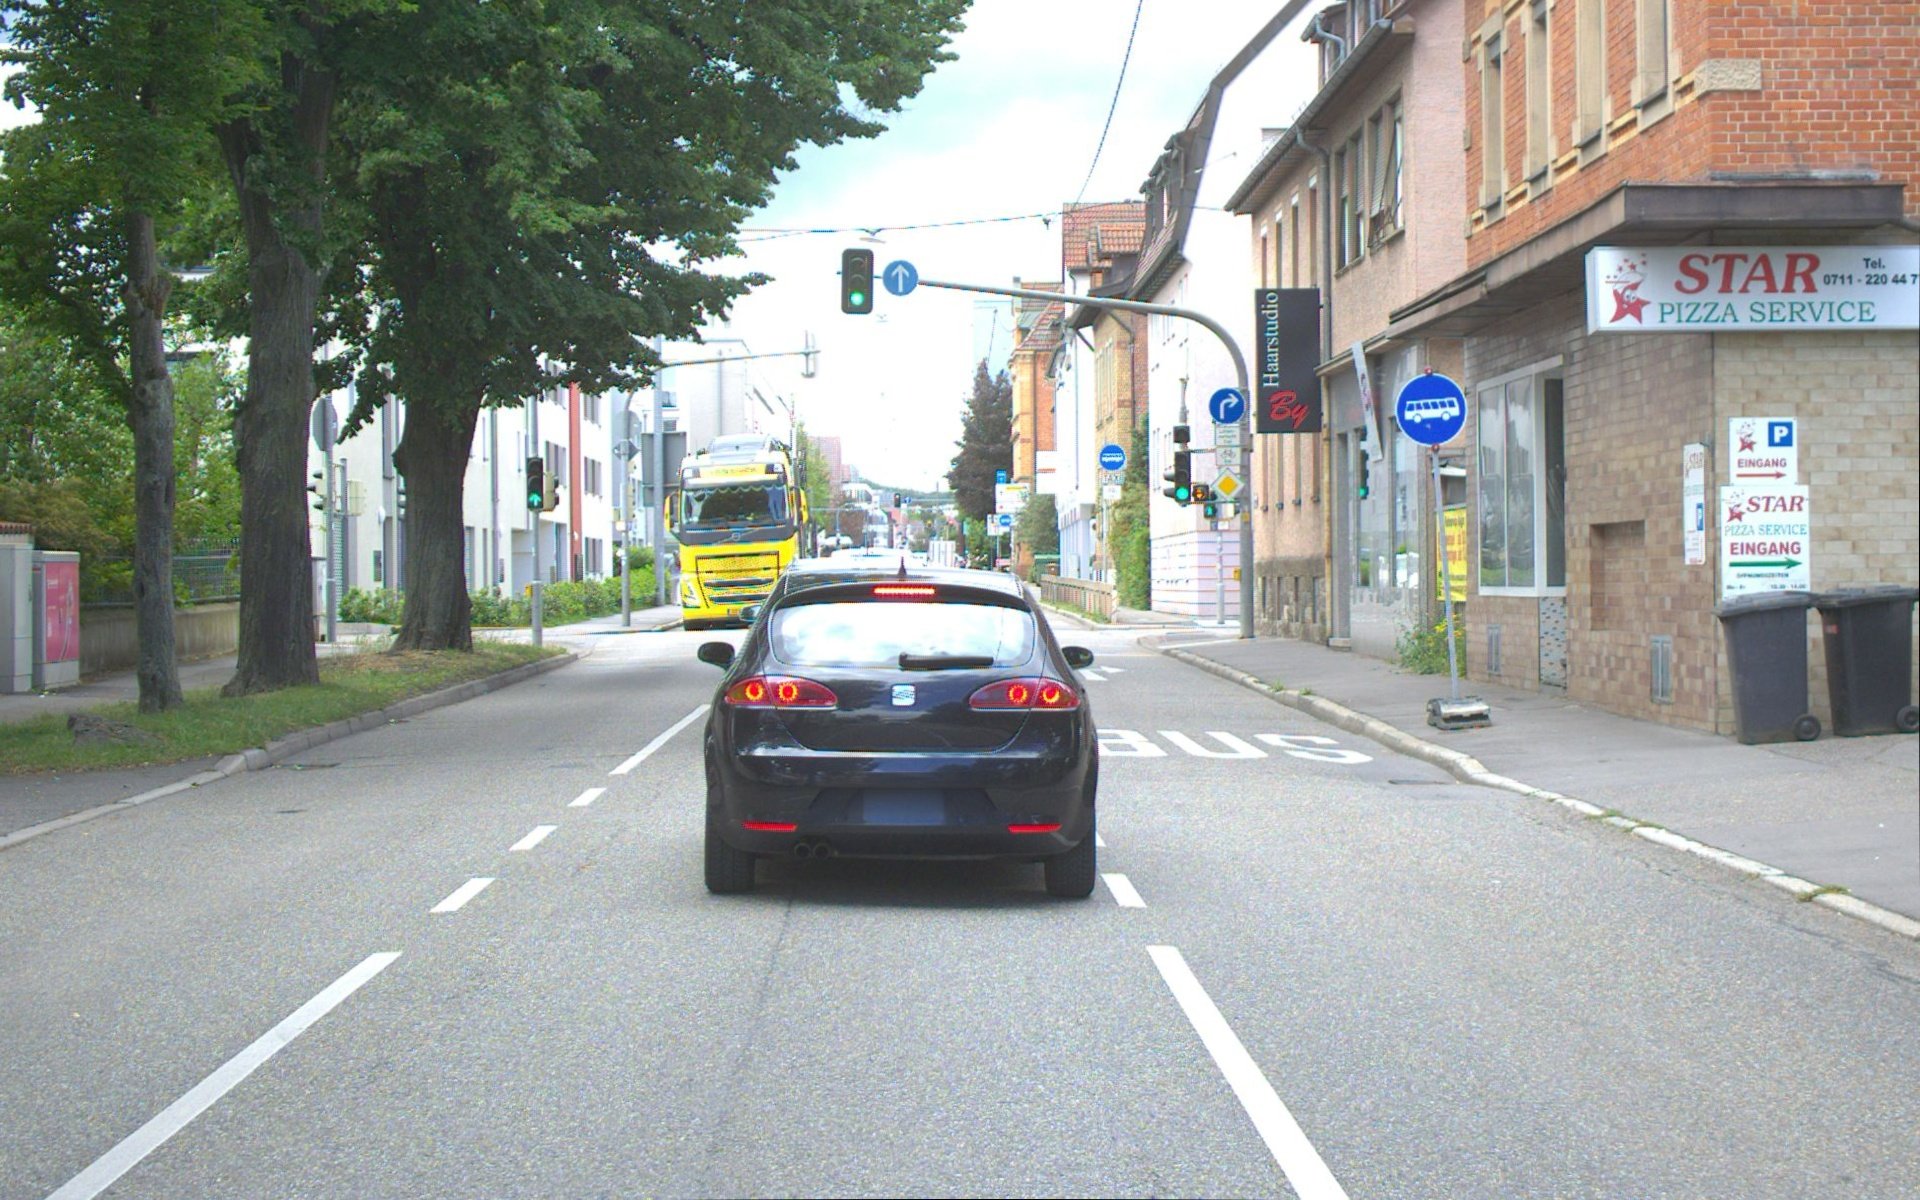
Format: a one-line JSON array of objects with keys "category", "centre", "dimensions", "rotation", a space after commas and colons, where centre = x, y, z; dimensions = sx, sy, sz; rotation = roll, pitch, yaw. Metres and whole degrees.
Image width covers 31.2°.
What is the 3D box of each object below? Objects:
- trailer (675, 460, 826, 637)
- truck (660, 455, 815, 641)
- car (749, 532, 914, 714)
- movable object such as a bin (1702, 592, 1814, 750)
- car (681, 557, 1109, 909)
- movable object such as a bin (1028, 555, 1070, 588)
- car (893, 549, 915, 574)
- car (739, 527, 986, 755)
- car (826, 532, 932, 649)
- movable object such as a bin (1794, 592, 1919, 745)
[{"category": "trailer", "centre": [-4.829, -1.141, 81.920], "dimensions": [2.858, 3.795, 14.391], "rotation": [1, 0, -1]}, {"category": "truck", "centre": [-4.728, -1.077, 74.327], "dimensions": [2.843, 3.769, 7.669], "rotation": [1, 0, 0]}, {"category": "car", "centre": [-1.252, 0.211, 34.224], "dimensions": [1.531, 1.687, 3.693], "rotation": [1, 0, -1]}, {"category": "movable object such as a bin", "centre": [5.698, 0.500, 24.571], "dimensions": [0.606, 1.097, 0.622], "rotation": [-2, 0, -1]}, {"category": "car", "centre": [-0.305, 0.548, 16.302], "dimensions": [1.759, 1.437, 4.000], "rotation": [1, 0, -1]}, {"category": "movable object such as a bin", "centre": [3.947, -1.254, 152.957], "dimensions": [1.818, 1.432, 1.993], "rotation": [1, 0, 0]}, {"category": "car", "centre": [-3.979, -2.727, 242.699], "dimensions": [1.531, 1.687, 3.693], "rotation": [0, 1, -1]}, {"category": "car", "centre": [-0.779, 0.302, 27.915], "dimensions": [1.842, 1.687, 4.000], "rotation": [1, 0, -1]}, {"category": "car", "centre": [-1.224, -0.147, 52.169], "dimensions": [1.531, 1.687, 3.693], "rotation": [1, 0, -1]}, {"category": "movable object such as a bin", "centre": [6.434, 0.485, 24.632], "dimensions": [0.698, 1.055, 0.723], "rotation": [-2, 0, -1]}]
